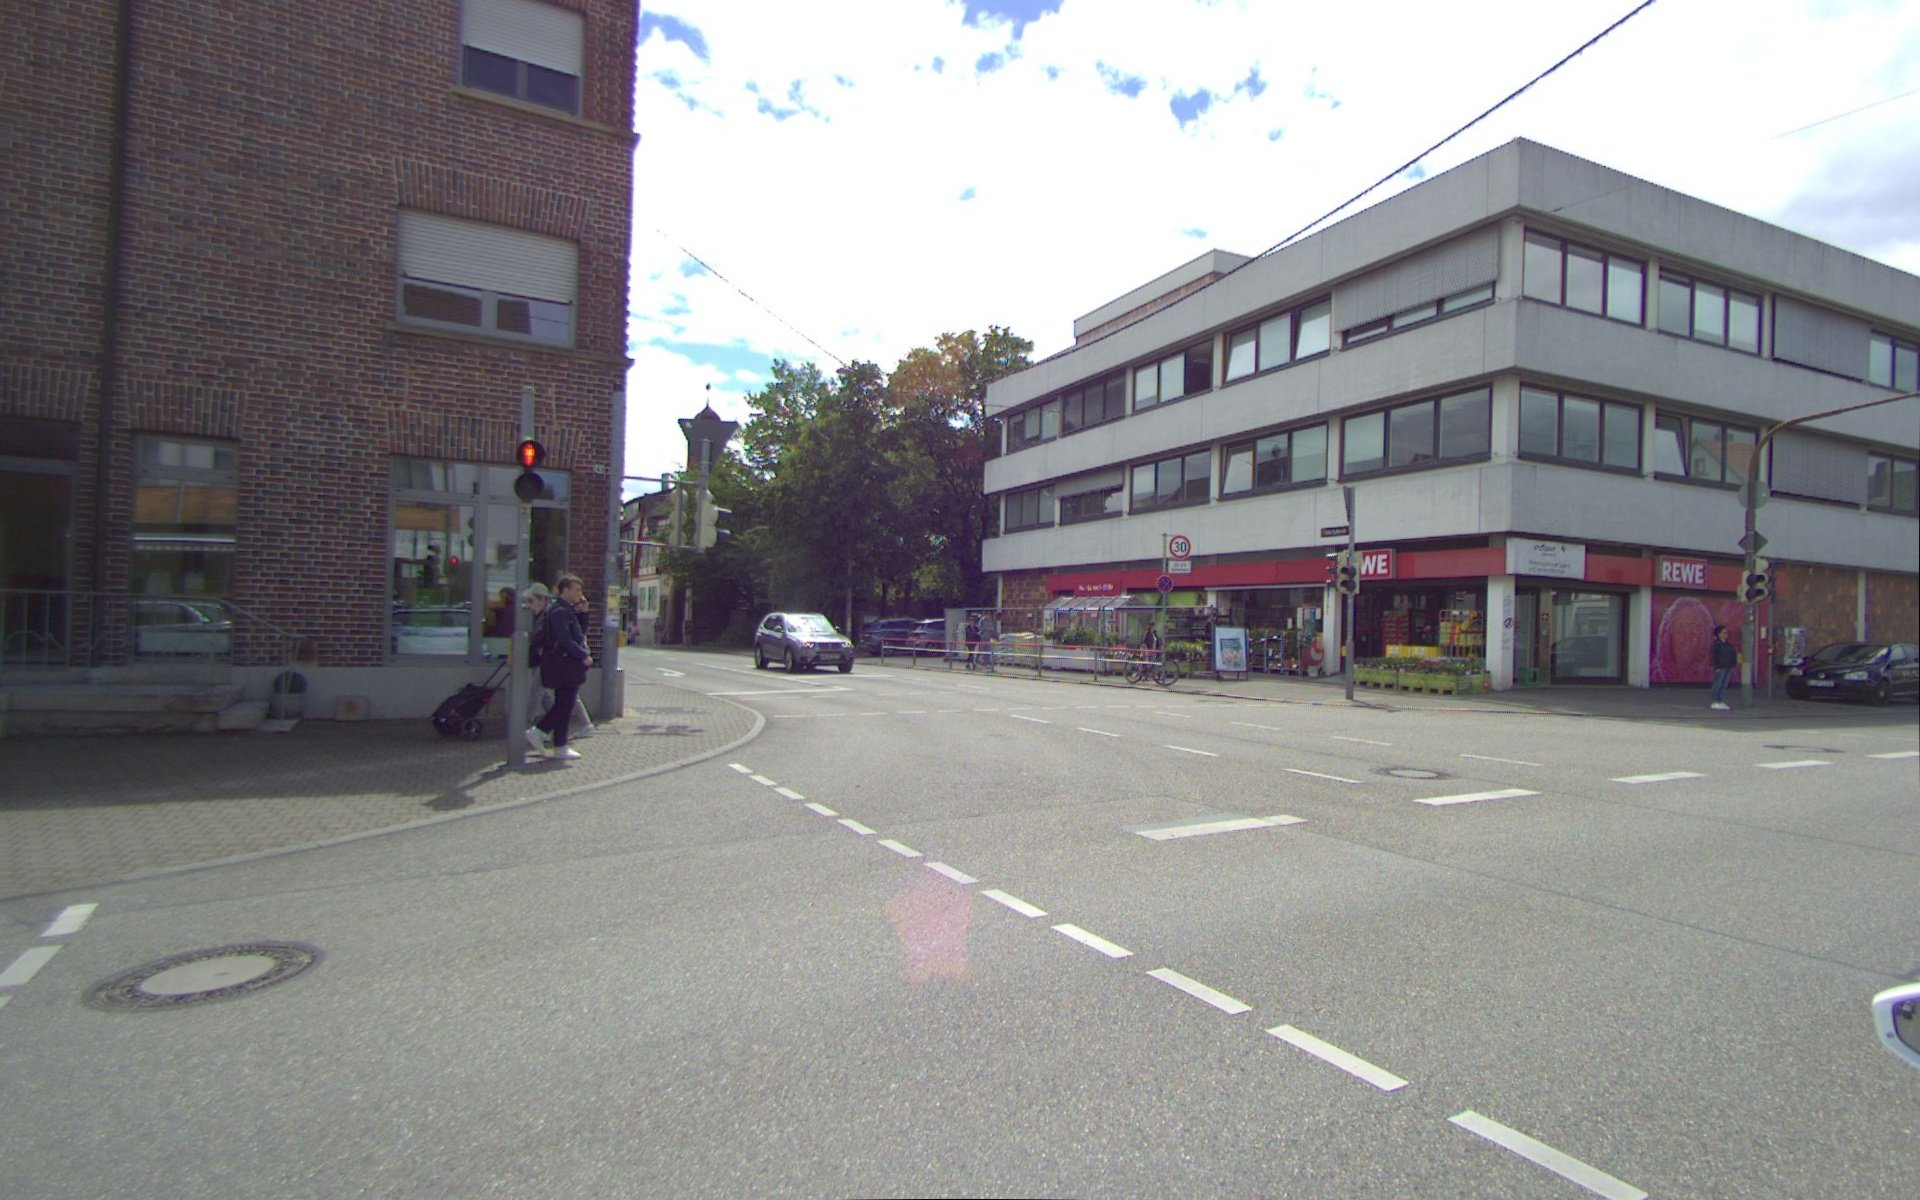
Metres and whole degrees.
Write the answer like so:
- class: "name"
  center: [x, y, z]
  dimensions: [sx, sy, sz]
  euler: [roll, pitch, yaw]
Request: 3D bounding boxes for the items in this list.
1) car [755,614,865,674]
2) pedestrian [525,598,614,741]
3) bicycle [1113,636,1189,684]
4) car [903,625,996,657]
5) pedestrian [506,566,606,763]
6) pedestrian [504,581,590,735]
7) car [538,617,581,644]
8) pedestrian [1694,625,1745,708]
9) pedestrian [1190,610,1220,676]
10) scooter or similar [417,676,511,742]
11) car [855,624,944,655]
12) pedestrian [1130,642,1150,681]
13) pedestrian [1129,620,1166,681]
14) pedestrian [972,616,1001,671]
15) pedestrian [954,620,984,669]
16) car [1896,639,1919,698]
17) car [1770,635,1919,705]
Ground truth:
- class: "car"
  center: [-4.418, 1.240, 29.172]
  dimensions: [1.898, 1.595, 3.970]
  euler: [1, -2, -29]
- class: "pedestrian"
  center: [-4.275, 0.752, 10.992]
  dimensions: [0.753, 1.504, 0.521]
  euler: [3, -1, -32]
- class: "bicycle"
  center: [4.861, 1.522, 25.682]
  dimensions: [0.769, 1.157, 1.867]
  euler: [3, -3, -39]
- class: "car"
  center: [-0.466, 1.760, 43.367]
  dimensions: [3.669, 1.338, 1.776]
  euler: [1, -1, -21]
- class: "pedestrian"
  center: [-3.905, 0.610, 9.701]
  dimensions: [0.713, 1.820, 0.622]
  euler: [3, -1, -32]
- class: "pedestrian"
  center: [-4.681, 0.647, 11.378]
  dimensions: [0.753, 1.680, 0.521]
  euler: [3, -1, -32]
- class: "car"
  center: [-24.595, 1.881, 61.625]
  dimensions: [1.898, 1.595, 4.296]
  euler: [1, -2, -29]
- class: "pedestrian"
  center: [15.507, 1.346, 20.514]
  dimensions: [0.652, 1.663, 0.616]
  euler: [2, -1, -29]
- class: "pedestrian"
  center: [6.922, 1.206, 28.367]
  dimensions: [0.612, 1.799, 0.554]
  euler: [2, -1, 35]
- class: "scooter or similar"
  center: [-5.294, 1.153, 10.745]
  dimensions: [0.374, 0.654, 0.807]
  euler: [-1, -3, 37]
- class: "car"
  center: [-2.720, 1.782, 44.981]
  dimensions: [3.669, 1.339, 1.776]
  euler: [1, -1, -21]
- class: "pedestrian"
  center: [4.824, 1.634, 26.912]
  dimensions: [0.357, 1.018, 0.384]
  euler: [2, -1, 34]
- class: "pedestrian"
  center: [5.134, 1.380, 27.476]
  dimensions: [0.712, 1.618, 0.695]
  euler: [2, -1, 34]
- class: "pedestrian"
  center: [0.900, 1.469, 34.044]
  dimensions: [0.671, 1.860, 0.727]
  euler: [1, -2, -37]
- class: "pedestrian"
  center: [0.301, 1.456, 33.234]
  dimensions: [0.671, 1.598, 0.727]
  euler: [1, -2, -37]
- class: "car"
  center: [26.716, 1.830, 26.210]
  dimensions: [4.384, 1.463, 1.897]
  euler: [2, 0, -26]
- class: "car"
  center: [21.649, 1.659, 24.212]
  dimensions: [4.033, 1.484, 1.779]
  euler: [2, 0, -26]
